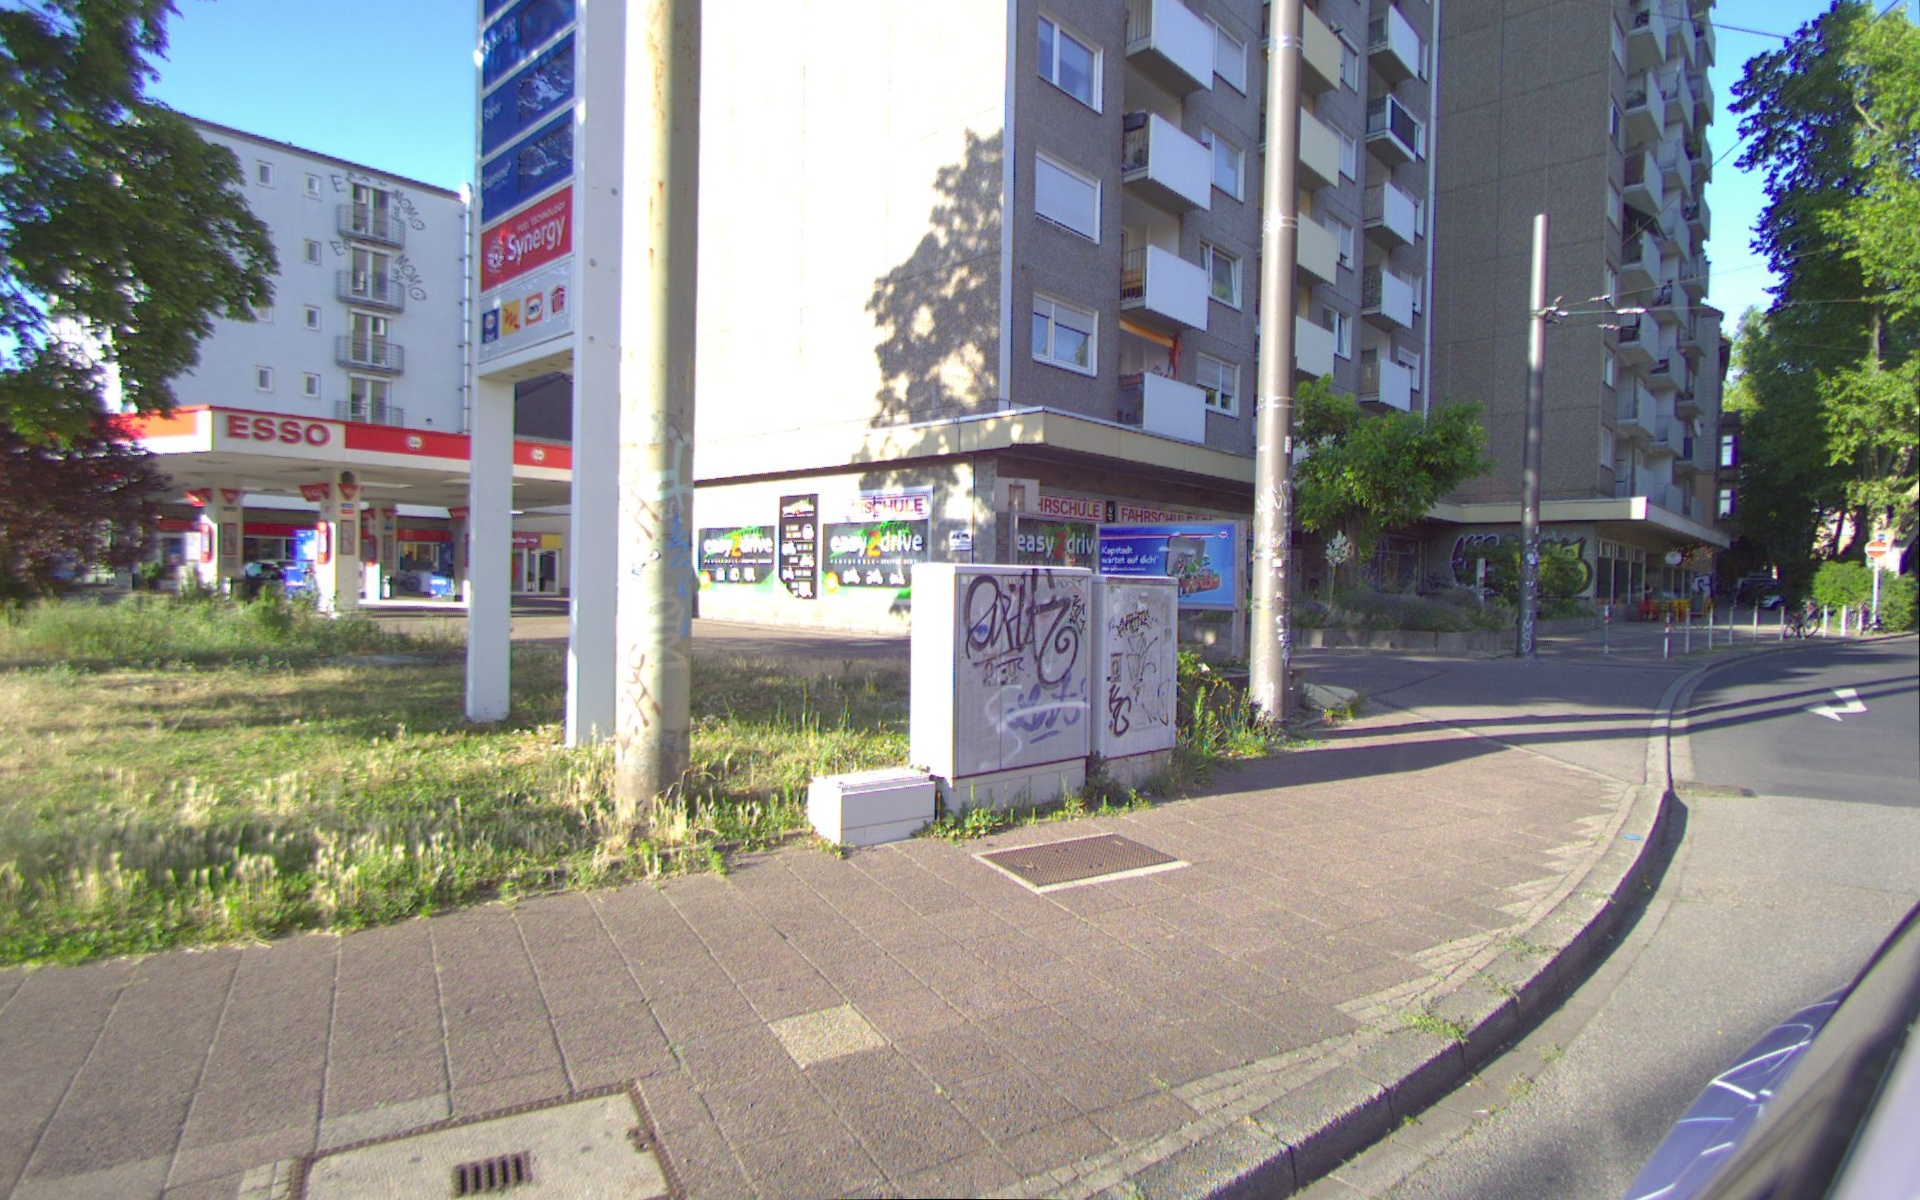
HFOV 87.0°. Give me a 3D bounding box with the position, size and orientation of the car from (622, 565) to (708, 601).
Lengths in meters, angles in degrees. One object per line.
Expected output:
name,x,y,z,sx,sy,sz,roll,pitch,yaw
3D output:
car,-12.581,-0.759,43.059,1.723,1.437,4.245,0,2,-45

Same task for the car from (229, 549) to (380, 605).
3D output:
car,-18.881,-0.685,29.150,3.963,1.370,1.981,4,3,28

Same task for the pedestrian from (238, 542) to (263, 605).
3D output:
pedestrian,-19.401,-0.727,27.662,0.416,1.726,0.417,1,1,28

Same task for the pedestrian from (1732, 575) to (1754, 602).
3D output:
pedestrian,60.213,-0.883,77.857,1.205,2.039,1.192,2,1,34

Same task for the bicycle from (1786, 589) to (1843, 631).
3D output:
bicycle,24.411,0.275,28.892,2.236,1.149,0.610,0,1,-33

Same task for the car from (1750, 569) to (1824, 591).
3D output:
car,60.621,-1.471,74.238,3.972,1.527,1.864,2,2,34

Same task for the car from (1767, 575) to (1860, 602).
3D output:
car,50.838,-0.690,60.375,3.972,1.527,1.864,2,2,34
